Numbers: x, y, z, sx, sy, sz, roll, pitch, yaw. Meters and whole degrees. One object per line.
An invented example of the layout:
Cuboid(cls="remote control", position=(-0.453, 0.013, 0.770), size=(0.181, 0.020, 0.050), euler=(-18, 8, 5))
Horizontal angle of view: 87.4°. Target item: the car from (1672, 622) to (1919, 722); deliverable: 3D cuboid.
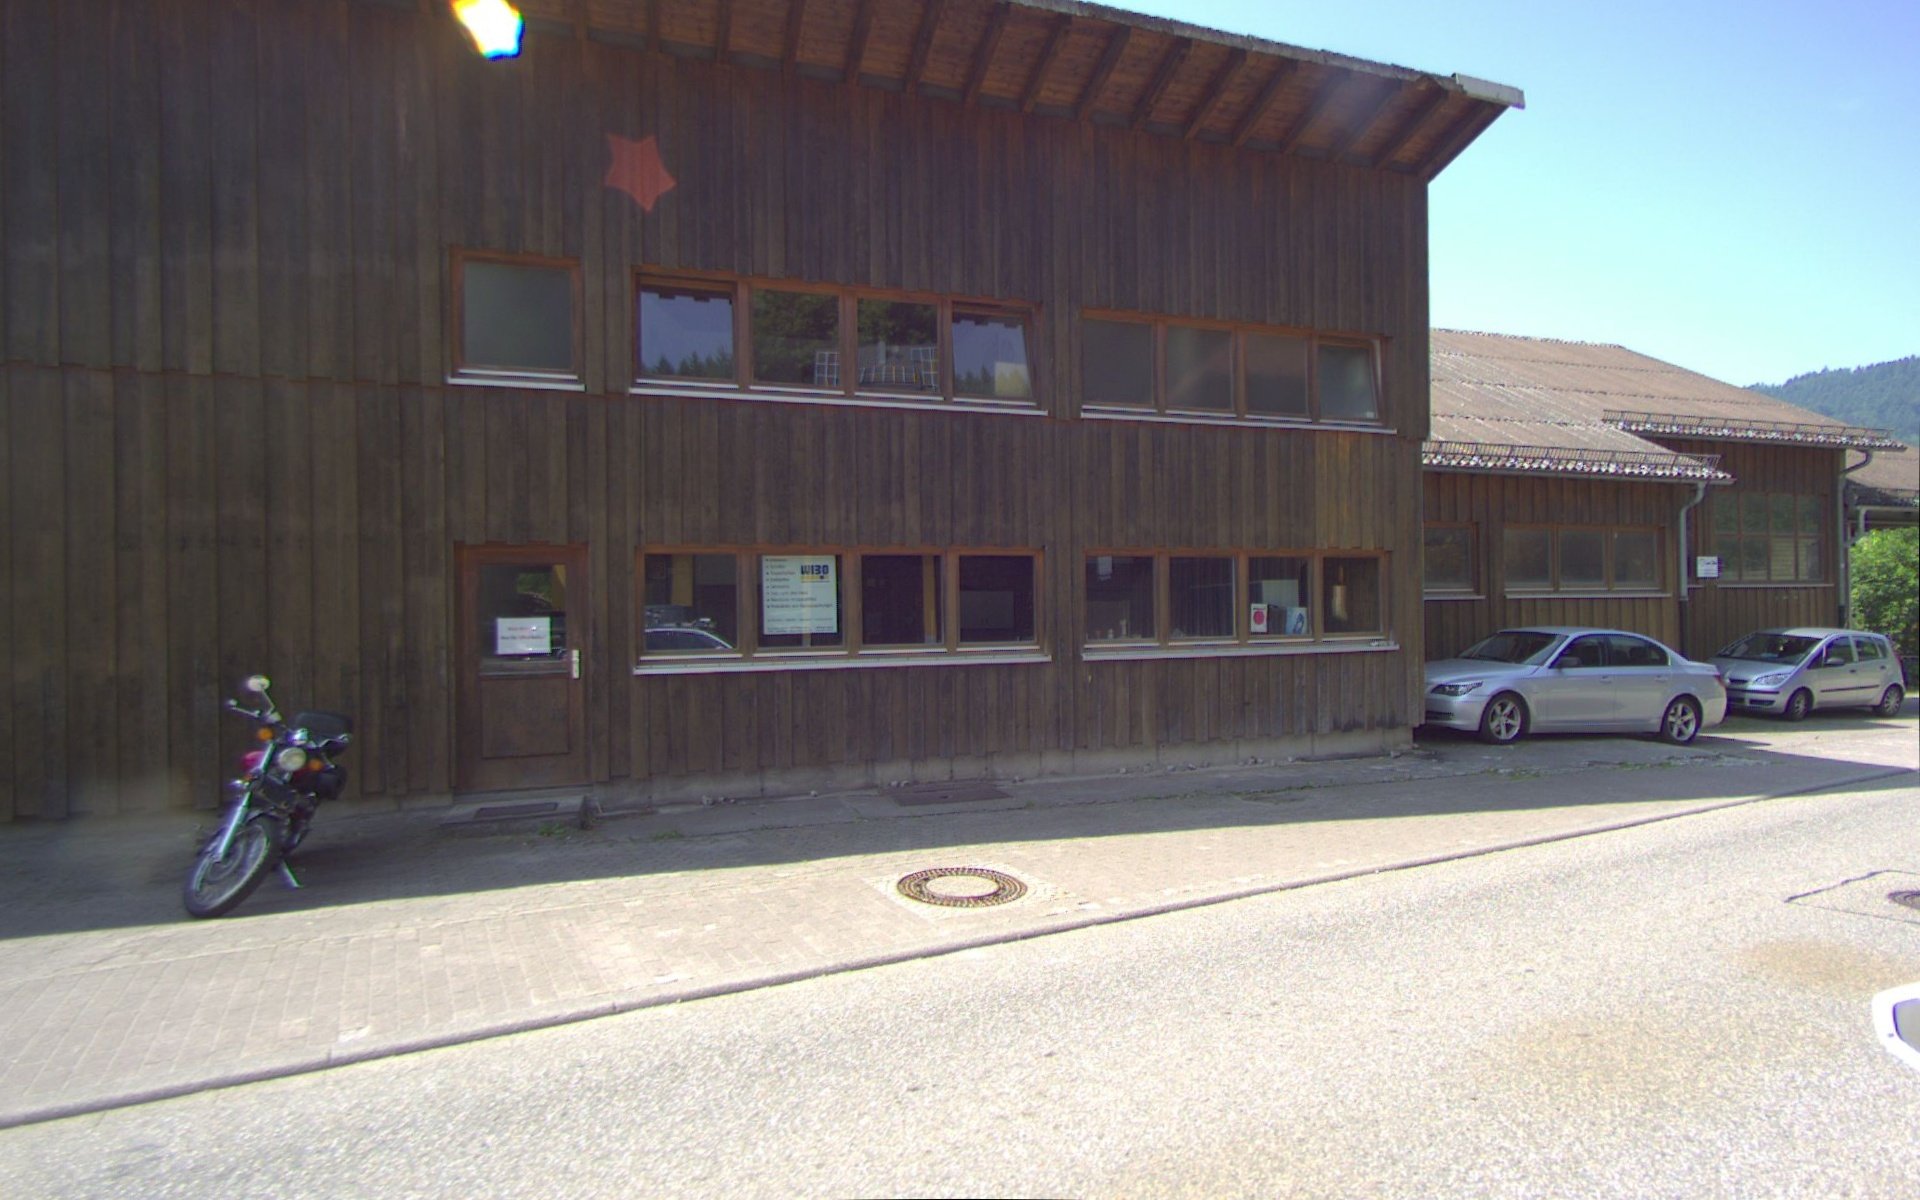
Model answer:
Cuboid(cls="car", position=(15.201, 1.265, 18.278), size=(3.960, 1.591, 1.579), euler=(1, 2, -18))

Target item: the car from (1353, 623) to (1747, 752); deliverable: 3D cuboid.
Cuboid(cls="car", position=(7.785, 1.072, 13.319), size=(4.725, 1.473, 1.729), euler=(0, -2, -16))

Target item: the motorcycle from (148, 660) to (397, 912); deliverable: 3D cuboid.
Cuboid(cls="motorcycle", position=(-4.382, 1.068, 6.635), size=(0.732, 1.281, 2.406), euler=(1, -2, -19))
